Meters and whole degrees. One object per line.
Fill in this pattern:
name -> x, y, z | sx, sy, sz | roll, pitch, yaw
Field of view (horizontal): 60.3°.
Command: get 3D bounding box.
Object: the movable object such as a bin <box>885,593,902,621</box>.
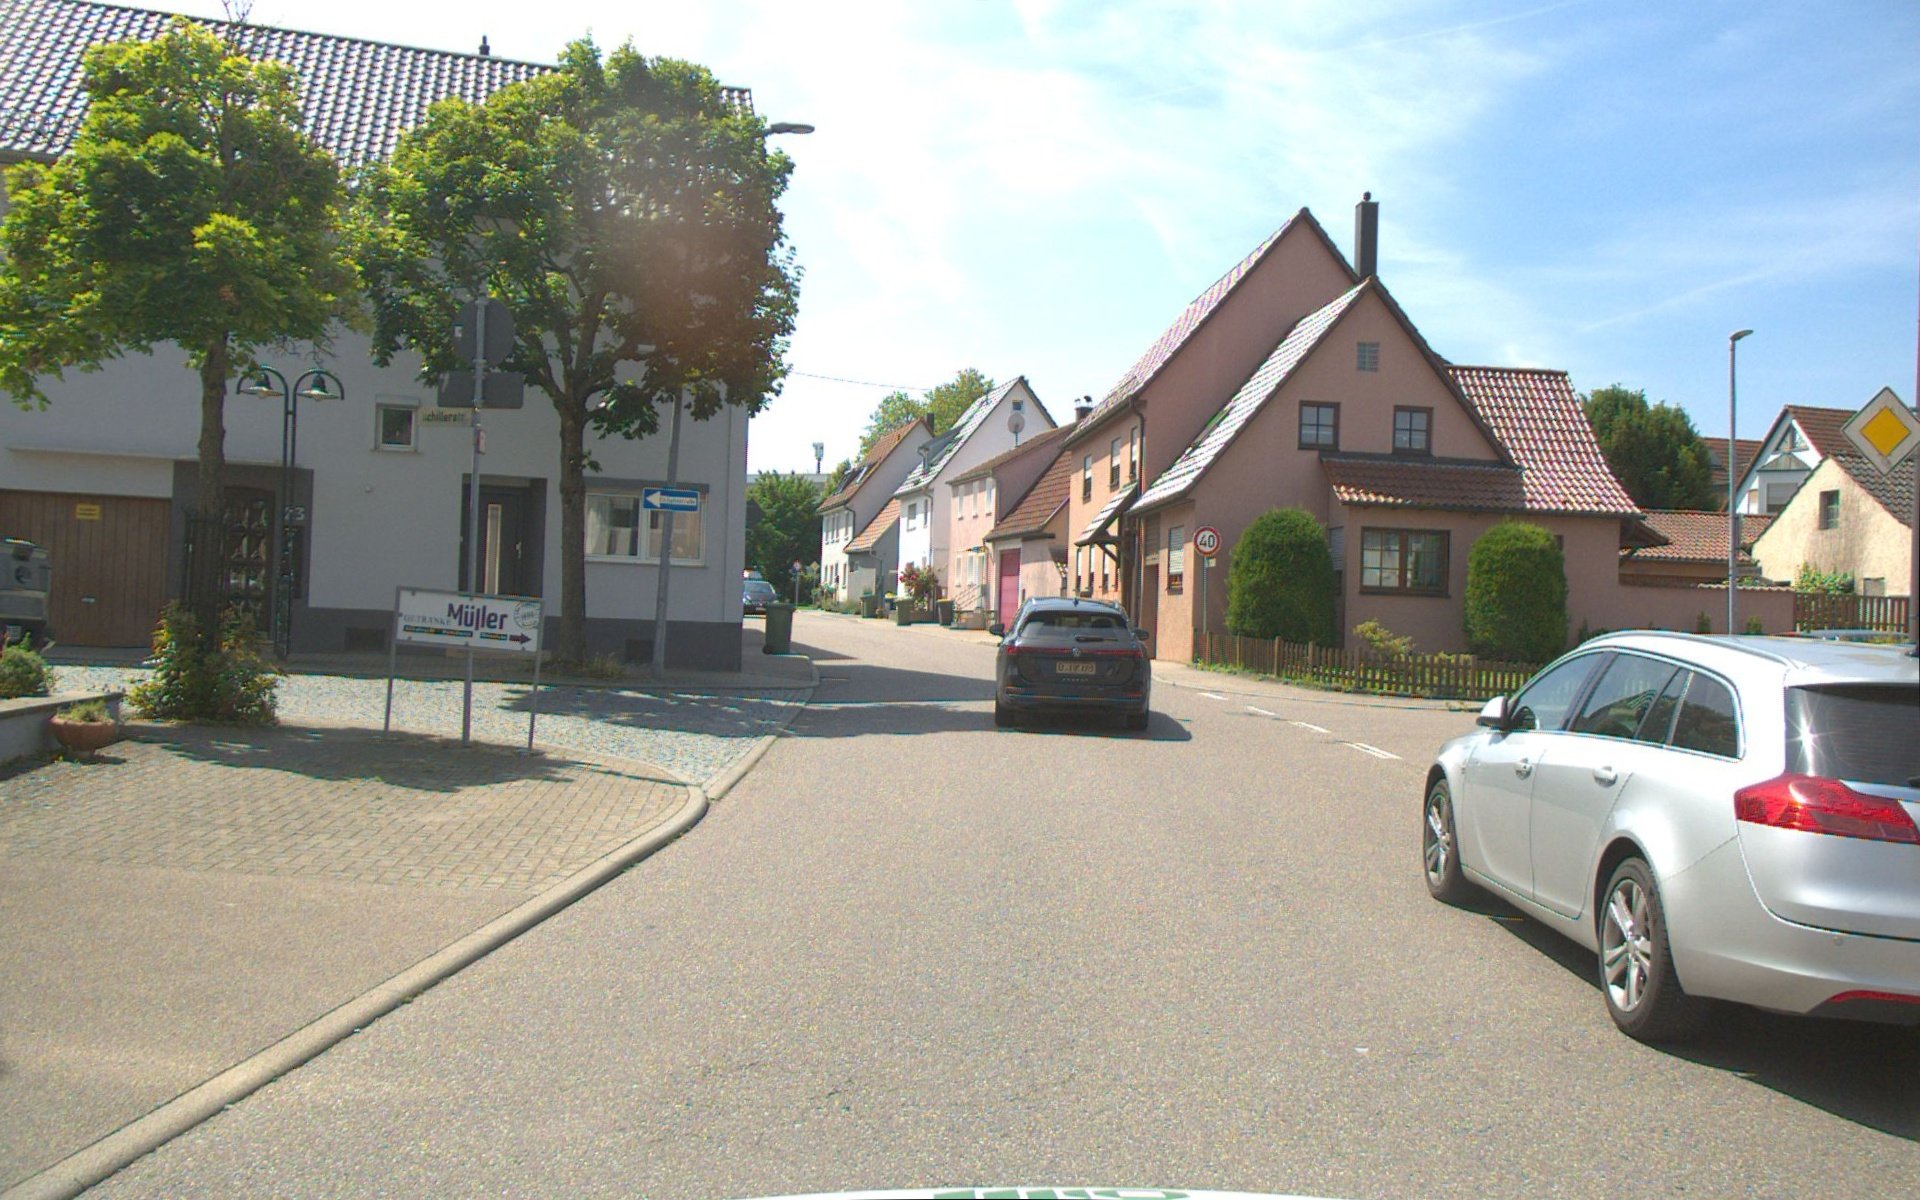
movable object such as a bin -> -3.030, 0.324, 75.685 | 0.653, 1.215, 0.586 | 2, 0, -14

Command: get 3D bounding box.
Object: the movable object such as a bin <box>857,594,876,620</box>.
movable object such as a bin -> -4.315, 0.330, 76.462 | 0.667, 1.175, 0.816 | 3, 0, -18

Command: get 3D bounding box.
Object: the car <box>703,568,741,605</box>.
car -> -17.441, -0.996, 121.468 | 2.072, 2.607, 5.825 | 1, 1, -2

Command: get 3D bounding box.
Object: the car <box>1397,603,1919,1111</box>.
car -> 3.354, 0.816, 7.203 | 1.749, 1.467, 4.337 | 3, 1, 1

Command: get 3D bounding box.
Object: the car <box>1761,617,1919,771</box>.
car -> 11.086, 1.020, 18.222 | 3.741, 1.514, 1.882 | 2, 0, -15

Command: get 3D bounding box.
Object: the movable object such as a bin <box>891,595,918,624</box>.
movable object such as a bin -> -2.278, 0.377, 67.465 | 0.862, 1.093, 0.868 | -3, 2, -18

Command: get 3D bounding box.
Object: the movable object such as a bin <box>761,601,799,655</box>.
movable object such as a bin -> -3.749, 0.573, 34.441 | 0.739, 1.079, 0.678 | 2, 1, -7

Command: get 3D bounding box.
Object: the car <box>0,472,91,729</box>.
car -> -9.778, -0.082, 12.686 | 5.012, 1.929, 2.171 | 2, 0, -10

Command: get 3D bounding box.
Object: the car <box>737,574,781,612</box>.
car -> -8.881, -0.336, 72.792 | 1.766, 1.583, 4.063 | 1, 1, -9

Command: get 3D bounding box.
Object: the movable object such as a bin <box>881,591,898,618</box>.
movable object such as a bin -> -3.265, 0.209, 76.630 | 0.653, 1.215, 0.658 | 2, 0, -14

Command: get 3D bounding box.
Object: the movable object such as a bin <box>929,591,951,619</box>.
movable object such as a bin -> -0.817, 0.189, 66.830 | 0.667, 1.068, 0.831 | -3, 2, -18

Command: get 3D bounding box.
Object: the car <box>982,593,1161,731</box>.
car -> 1.466, 0.689, 20.016 | 1.802, 1.445, 4.686 | 0, -1, 8
